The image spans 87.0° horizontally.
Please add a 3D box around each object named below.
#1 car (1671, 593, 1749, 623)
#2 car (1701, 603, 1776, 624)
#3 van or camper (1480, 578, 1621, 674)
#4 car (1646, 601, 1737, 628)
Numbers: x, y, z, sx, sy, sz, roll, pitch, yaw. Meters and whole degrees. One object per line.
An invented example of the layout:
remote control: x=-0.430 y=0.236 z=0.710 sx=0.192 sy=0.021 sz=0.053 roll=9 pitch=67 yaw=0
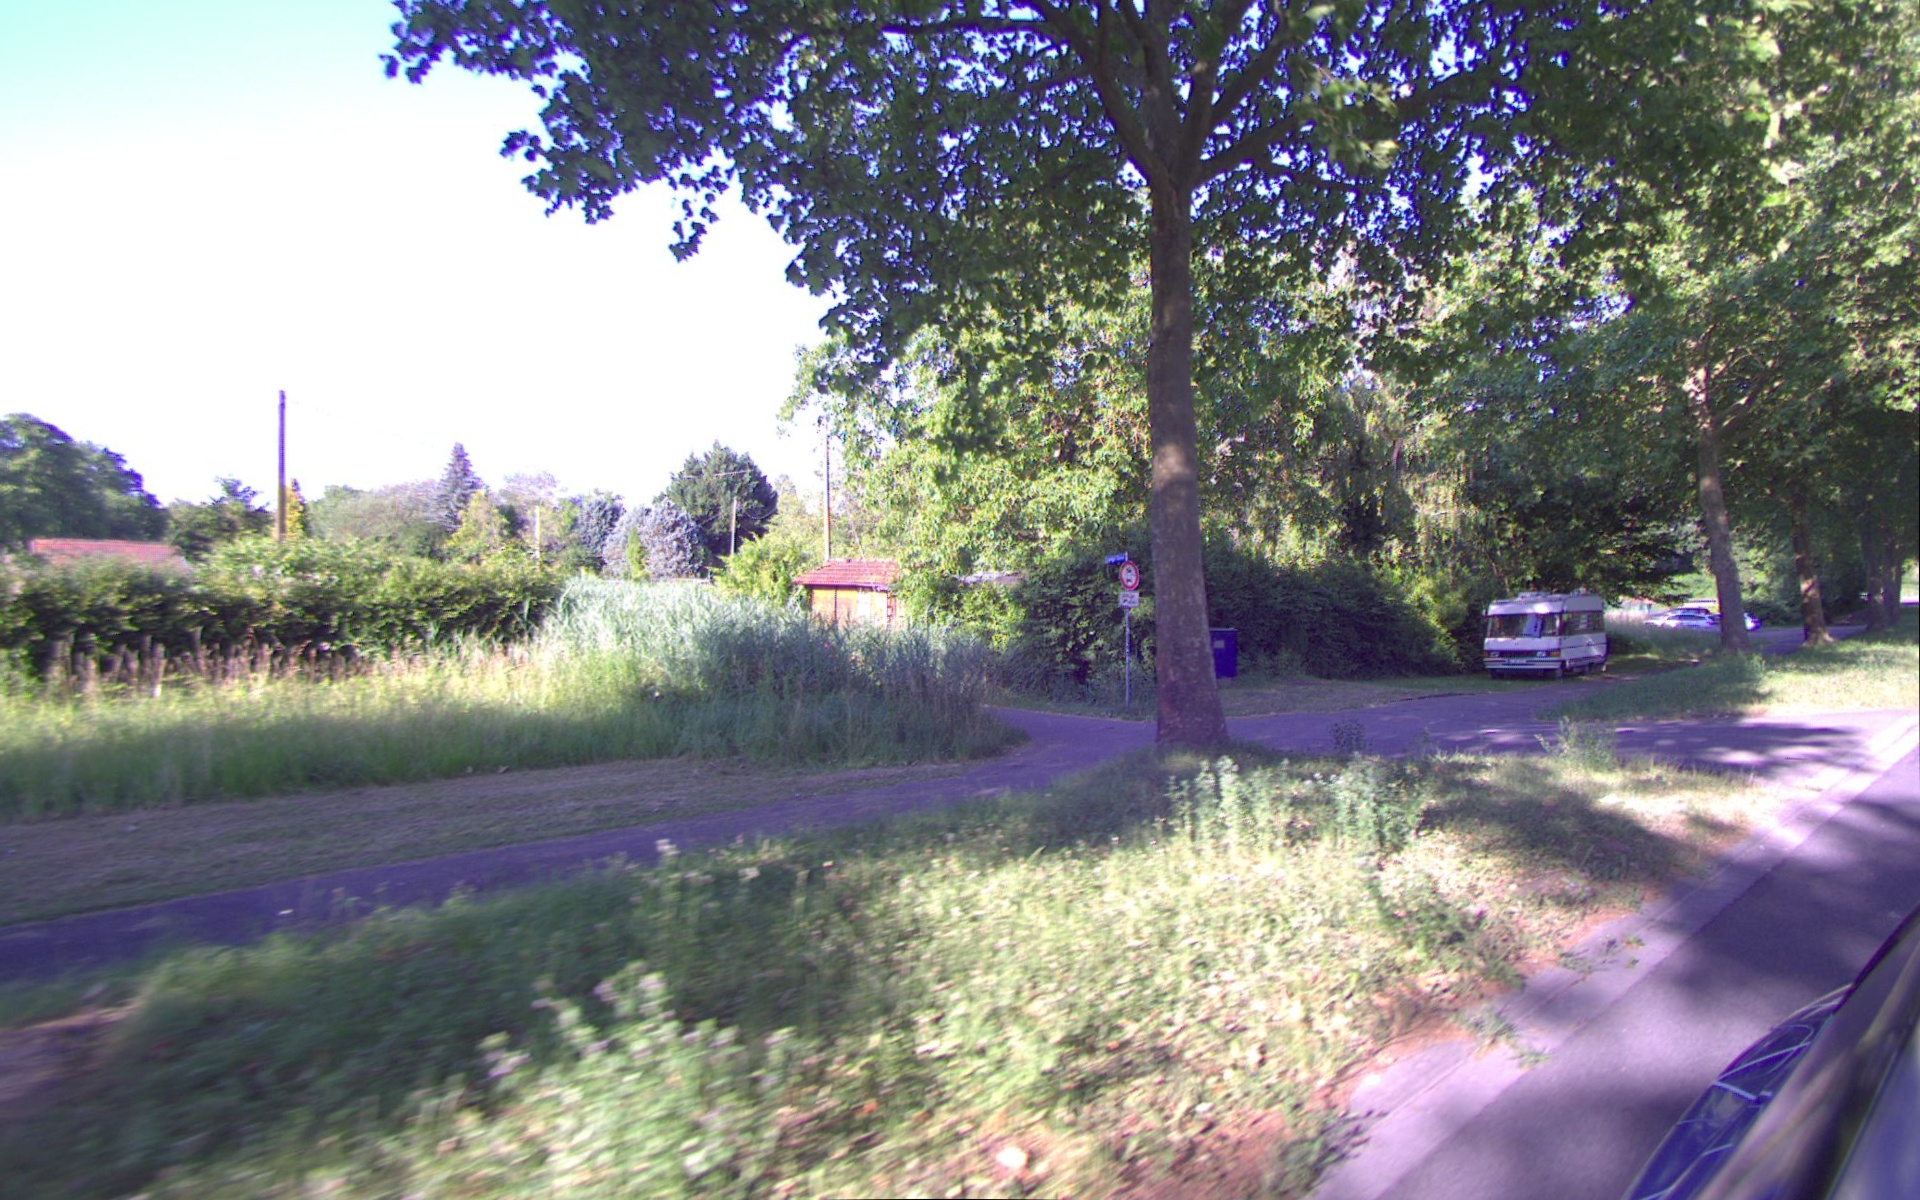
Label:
car: x=52.589 y=0.513 z=70.988 sx=1.962 sy=2.039 sz=3.999 roll=-1 pitch=1 yaw=-36
car: x=57.505 y=0.989 z=74.806 sx=1.962 sy=1.404 sz=3.999 roll=-1 pitch=1 yaw=-36
van or camper: x=19.132 y=0.734 z=32.680 sx=5.589 sy=2.835 sz=2.383 roll=-1 pitch=1 yaw=-43
car: x=48.352 y=0.945 z=66.976 sx=1.962 sy=1.691 sz=4.515 roll=-1 pitch=1 yaw=-36
